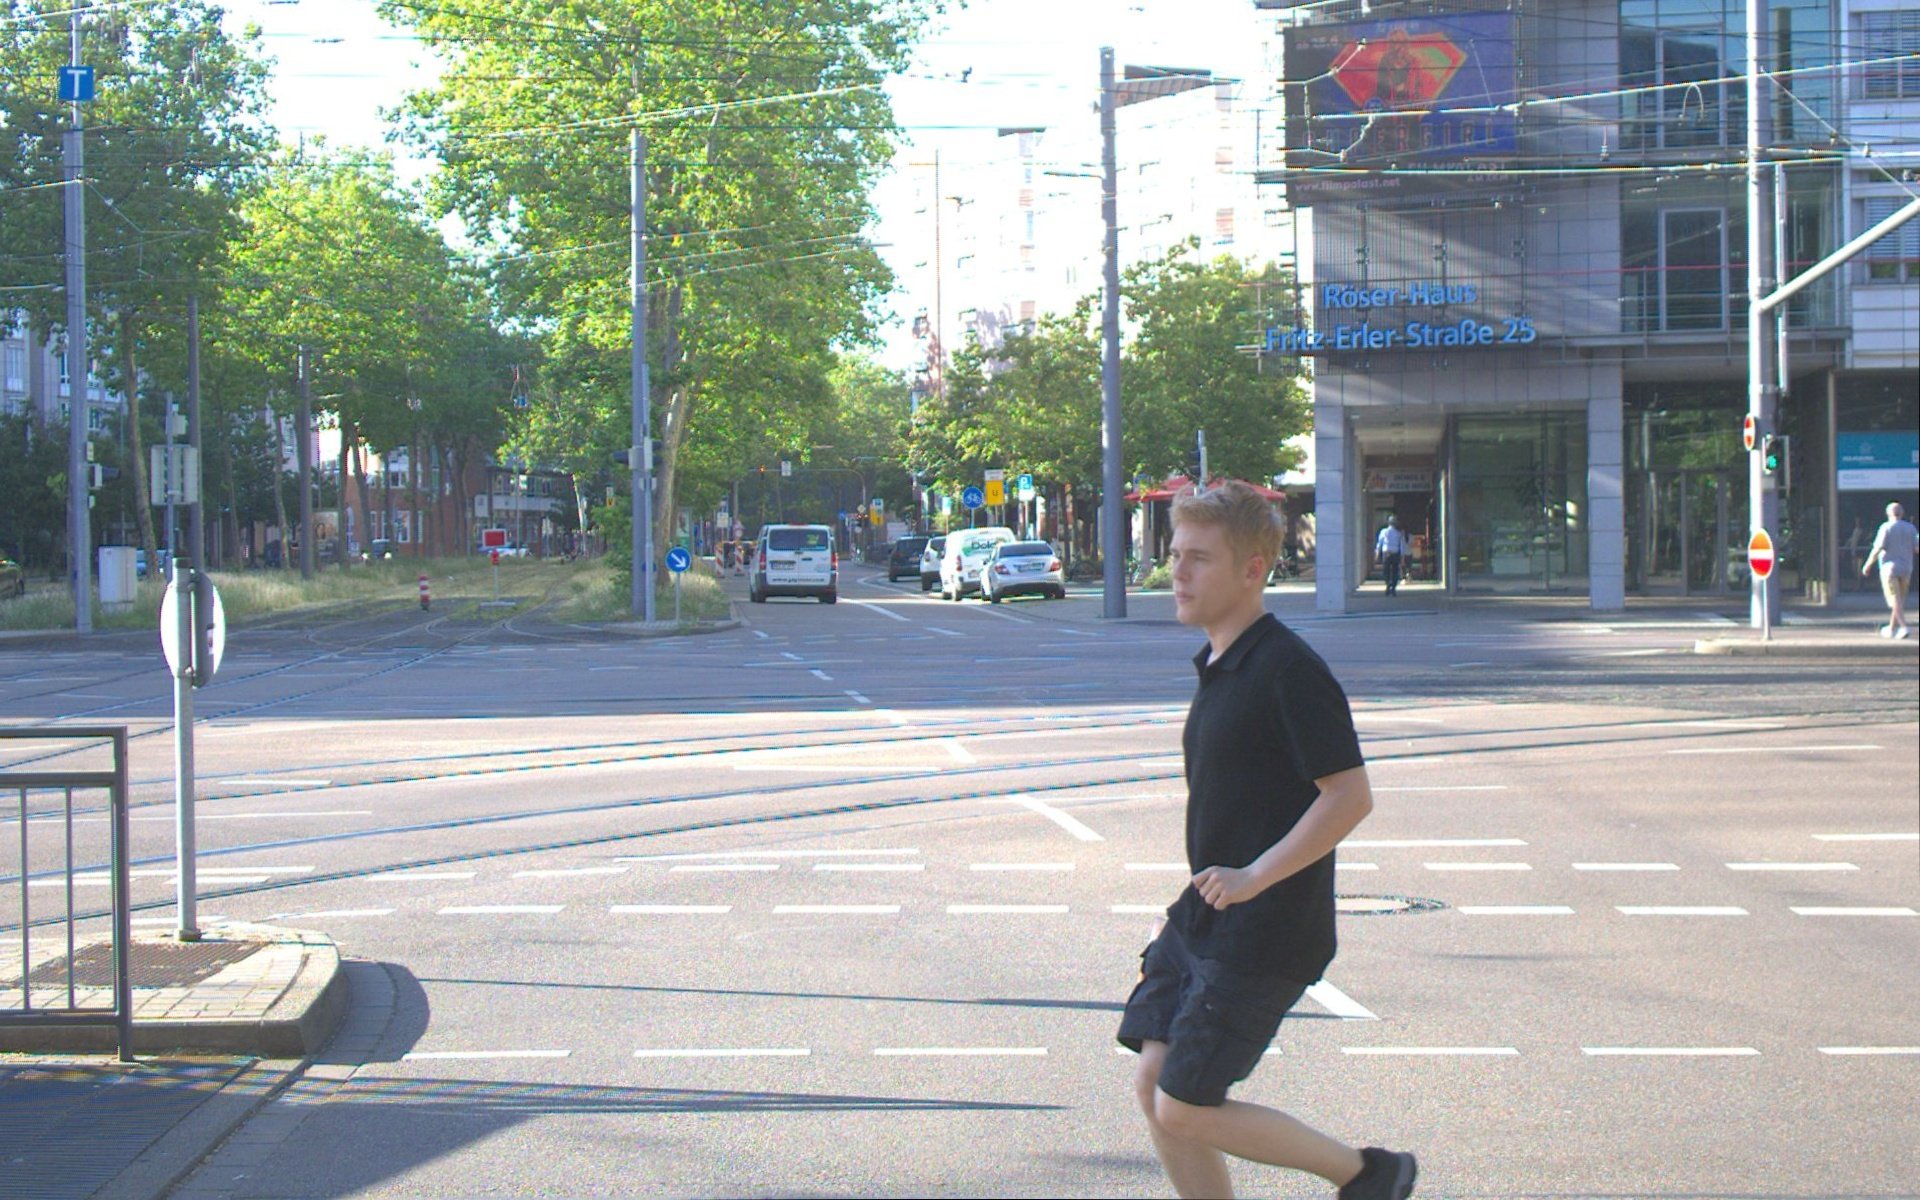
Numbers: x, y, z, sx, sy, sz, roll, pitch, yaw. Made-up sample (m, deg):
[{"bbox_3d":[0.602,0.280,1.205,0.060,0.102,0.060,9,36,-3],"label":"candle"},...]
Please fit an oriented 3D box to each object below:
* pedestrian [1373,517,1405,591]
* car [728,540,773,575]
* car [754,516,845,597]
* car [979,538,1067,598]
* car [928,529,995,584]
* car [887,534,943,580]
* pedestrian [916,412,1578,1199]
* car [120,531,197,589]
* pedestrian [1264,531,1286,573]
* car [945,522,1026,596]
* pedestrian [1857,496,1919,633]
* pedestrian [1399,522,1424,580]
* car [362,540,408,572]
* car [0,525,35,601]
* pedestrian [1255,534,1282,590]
[{"bbox_3d":[8.761,-0.944,70.203,0.612,1.502,0.579,-1,1,8],"label":"pedestrian"},{"bbox_3d":[-8.935,-1.814,146.870,1.797,1.437,4.000,1,1,-2],"label":"car"},{"bbox_3d":[-3.762,-1.050,81.385,1.961,1.842,5.331,-1,1,-1],"label":"car"},{"bbox_3d":[1.489,-0.782,82.768,1.993,1.371,4.000,-1,1,-1],"label":"car"},{"bbox_3d":[0.032,-1.354,105.208,1.993,1.612,4.000,-1,1,0],"label":"car"},{"bbox_3d":[-1.647,-1.592,126.659,1.993,1.612,4.000,-1,1,0],"label":"car"},{"bbox_3d":[0.521,0.532,6.561,1.089,1.742,0.743,0,1,-11],"label":"pedestrian"},{"bbox_3d":[-28.727,-1.447,123.266,1.993,2.007,4.001,-1,1,-3],"label":"car"},{"bbox_3d":[9.744,-1.495,106.394,0.577,1.284,0.910,-1,1,-1],"label":"pedestrian"},{"bbox_3d":[0.644,-1.091,89.563,1.993,1.853,4.000,-1,1,-1],"label":"car"},{"bbox_3d":[12.343,-0.471,45.445,0.864,1.782,0.871,-1,1,10],"label":"pedestrian"},{"bbox_3d":[11.743,-1.277,89.436,0.612,1.502,0.579,-1,1,7],"label":"pedestrian"},{"bbox_3d":[-33.479,-2.594,200.274,1.993,1.809,4.000,-1,1,-1],"label":"car"},{"bbox_3d":[-21.669,-0.794,74.916,1.993,1.634,4.000,-1,1,-1],"label":"car"},{"bbox_3d":[9.423,-1.169,104.966,0.744,1.708,0.612,-1,1,-1],"label":"pedestrian"}]
